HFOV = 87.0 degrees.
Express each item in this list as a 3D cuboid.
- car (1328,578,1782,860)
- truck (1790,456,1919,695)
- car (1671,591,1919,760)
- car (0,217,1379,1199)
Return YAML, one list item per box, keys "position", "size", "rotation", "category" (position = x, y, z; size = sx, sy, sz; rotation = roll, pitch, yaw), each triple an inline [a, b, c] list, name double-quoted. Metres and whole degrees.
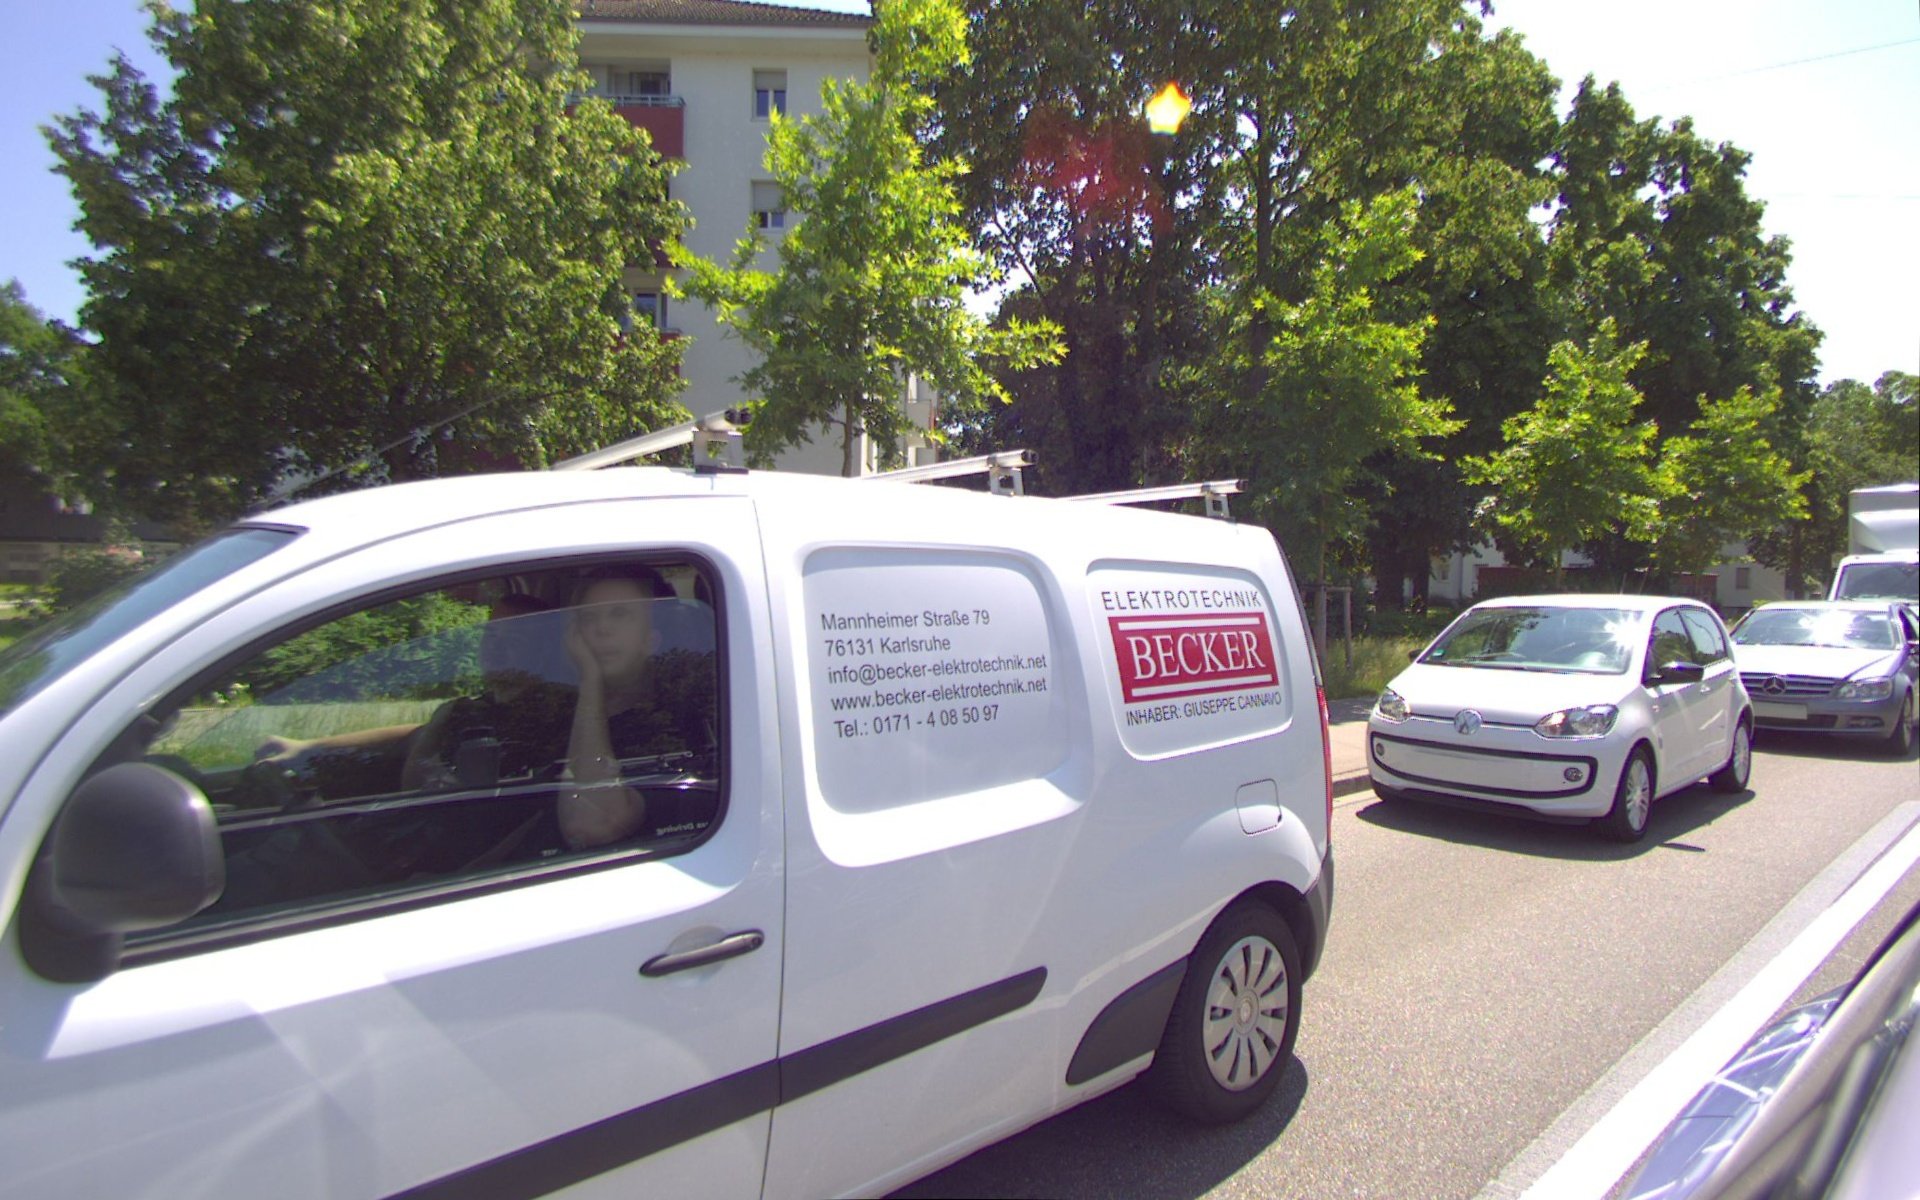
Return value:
- position: [4.428, 0.619, 7.321]
  size: [3.705, 1.497, 1.729]
  rotation: [0, 1, -41]
  category: "car"
- position: [16.544, -0.370, 17.005]
  size: [7.778, 3.387, 2.434]
  rotation: [0, 1, -39]
  category: "truck"
- position: [9.262, 0.641, 10.771]
  size: [4.016, 1.426, 1.839]
  rotation: [0, 1, -41]
  category: "car"
- position: [-0.965, 0.467, 2.567]
  size: [4.370, 1.849, 1.997]
  rotation: [0, 1, -41]
  category: "car"
